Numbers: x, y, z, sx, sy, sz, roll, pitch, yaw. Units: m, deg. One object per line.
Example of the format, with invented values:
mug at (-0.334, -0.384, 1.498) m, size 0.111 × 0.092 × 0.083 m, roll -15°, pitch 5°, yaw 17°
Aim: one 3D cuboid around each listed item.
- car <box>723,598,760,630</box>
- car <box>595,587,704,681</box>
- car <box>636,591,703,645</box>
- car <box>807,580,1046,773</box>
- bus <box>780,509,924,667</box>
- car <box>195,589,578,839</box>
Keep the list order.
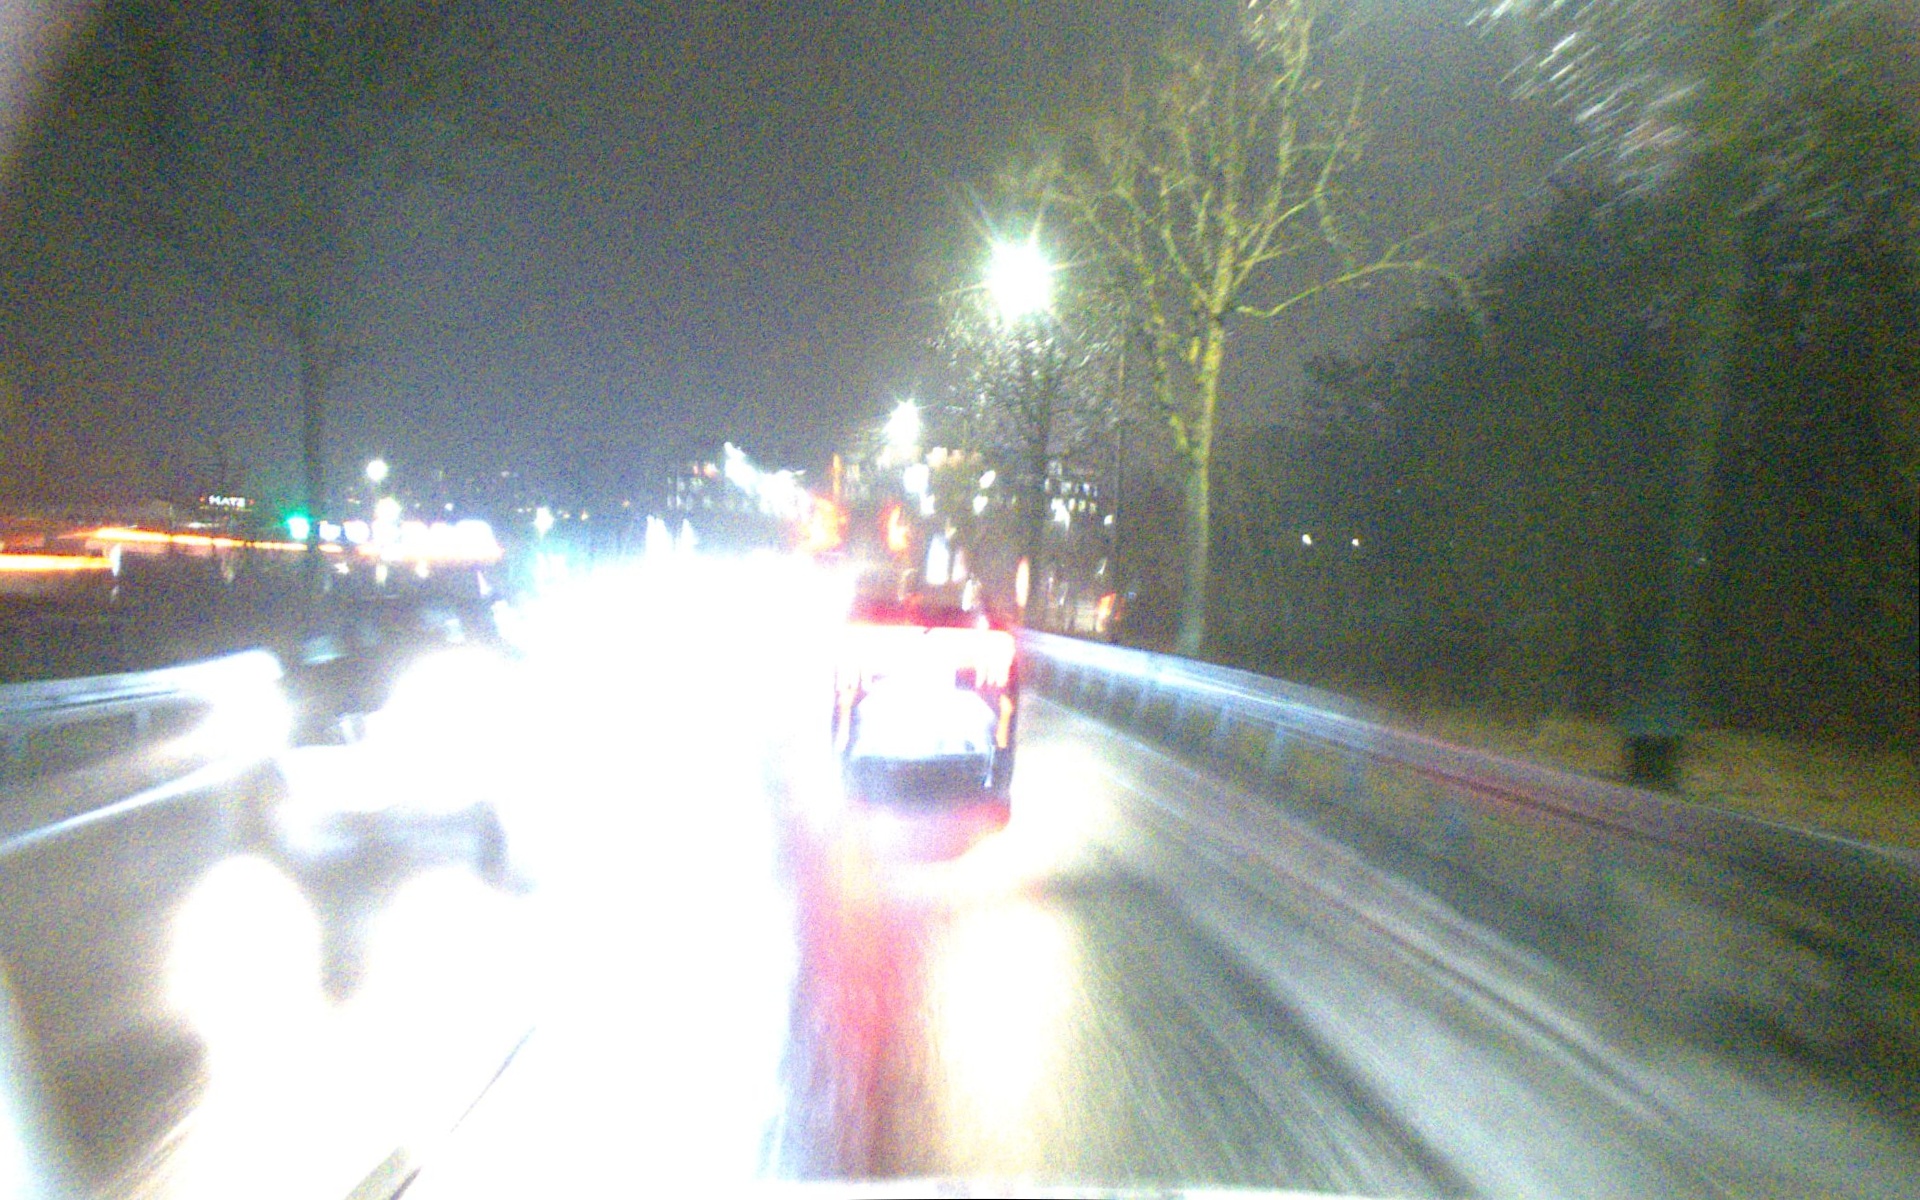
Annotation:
car at (-11.046, 0.692, 83.541) m, size 1.790 × 1.427 × 4.029 m, roll 2°, pitch 0°, yaw -8°
car at (-5.285, 0.543, 28.511) m, size 1.587 × 1.504 × 4.039 m, roll 0°, pitch 0°, yaw -7°
car at (-8.312, 0.490, 47.538) m, size 1.727 × 1.456 × 4.319 m, roll 1°, pitch 0°, yaw -8°
car at (-0.261, 0.609, 15.705) m, size 1.952 × 1.551 × 4.000 m, roll 1°, pitch 1°, yaw 0°
bus at (-2.730, -0.281, 38.884) m, size 2.985 × 3.268 × 9.038 m, roll 0°, pitch 0°, yaw -6°
car at (-3.792, 0.659, 11.594) m, size 1.632 × 1.457 × 3.815 m, roll 1°, pitch 0°, yaw -5°
